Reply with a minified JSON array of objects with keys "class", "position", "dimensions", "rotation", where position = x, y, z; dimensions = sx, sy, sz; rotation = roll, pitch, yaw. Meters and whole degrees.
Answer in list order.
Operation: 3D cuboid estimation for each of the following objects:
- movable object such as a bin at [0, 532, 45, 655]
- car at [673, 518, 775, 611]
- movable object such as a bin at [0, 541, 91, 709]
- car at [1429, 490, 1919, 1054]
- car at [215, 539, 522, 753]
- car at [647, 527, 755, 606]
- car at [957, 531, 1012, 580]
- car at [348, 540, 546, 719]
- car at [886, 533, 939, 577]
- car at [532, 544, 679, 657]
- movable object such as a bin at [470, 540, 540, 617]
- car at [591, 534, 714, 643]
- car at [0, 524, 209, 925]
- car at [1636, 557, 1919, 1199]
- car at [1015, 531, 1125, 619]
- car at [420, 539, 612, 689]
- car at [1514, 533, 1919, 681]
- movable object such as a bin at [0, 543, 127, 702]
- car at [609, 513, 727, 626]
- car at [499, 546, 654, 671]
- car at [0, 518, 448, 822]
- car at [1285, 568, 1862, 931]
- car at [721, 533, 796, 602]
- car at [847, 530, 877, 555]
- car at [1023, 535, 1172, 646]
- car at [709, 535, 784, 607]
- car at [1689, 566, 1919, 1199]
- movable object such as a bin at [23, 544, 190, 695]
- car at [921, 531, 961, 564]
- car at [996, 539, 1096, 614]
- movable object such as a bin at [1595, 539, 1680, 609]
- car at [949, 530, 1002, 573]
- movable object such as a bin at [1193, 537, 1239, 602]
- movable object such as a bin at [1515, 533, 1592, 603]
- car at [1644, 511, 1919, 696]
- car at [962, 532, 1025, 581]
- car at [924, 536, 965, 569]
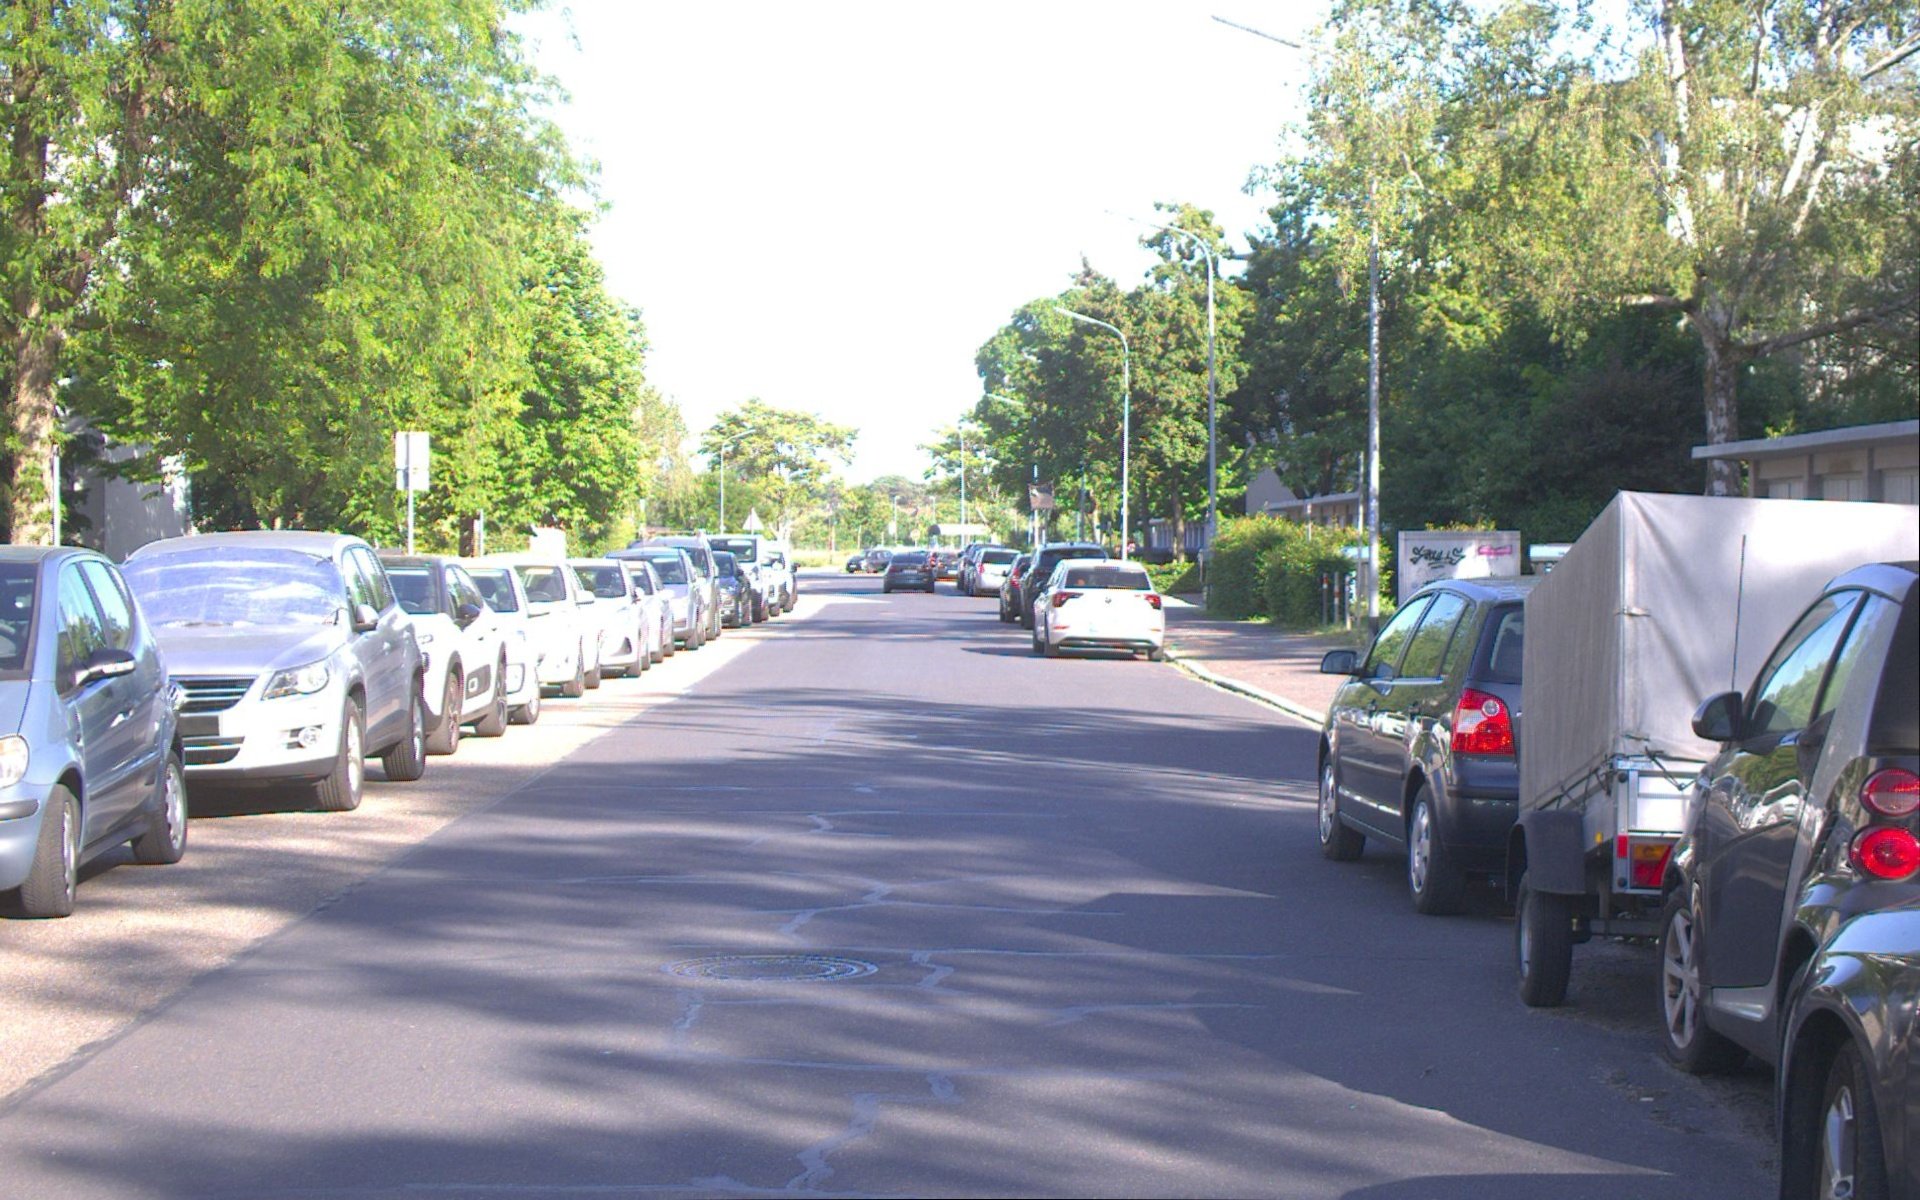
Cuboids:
[{"class":"movable object such as a bin","position":[-11.701,-0.105,41.018],"dimensions":[1.134,1.416,1.361],"rotation":[3,1,1]},{"class":"car","position":[-5.180,-0.808,75.931],"dimensions":[1.915,1.956,5.088],"rotation":[-1,1,-1]},{"class":"movable object such as a bin","position":[-8.280,0.192,29.648],"dimensions":[1.136,1.378,1.442],"rotation":[3,1,1]},{"class":"car","position":[2.596,0.515,11.899],"dimensions":[1.488,1.712,2.583],"rotation":[2,1,-1]},{"class":"car","position":[-4.485,0.296,26.598],"dimensions":[1.662,1.508,3.946],"rotation":[-1,1,0]},{"class":"car","position":[-5.210,-0.695,69.569],"dimensions":[1.746,1.528,4.139],"rotation":[-1,1,1]},{"class":"car","position":[0.910,-1.662,128.722],"dimensions":[1.795,1.780,3.952],"rotation":[1,1,-3]},{"class":"car","position":[-4.627,0.225,31.316],"dimensions":[1.662,1.508,3.539],"rotation":[-1,1,-7]},{"class":"car","position":[-1.710,-1.641,123.600],"dimensions":[1.679,1.508,4.105],"rotation":[2,1,-3]},{"class":"car","position":[-5.022,-0.030,49.164],"dimensions":[1.686,1.460,4.526],"rotation":[-2,1,-1]},{"class":"movable object such as a bin","position":[-8.721,-0.417,65.925],"dimensions":[1.101,1.416,1.361],"rotation":[3,1,0]},{"class":"car","position":[-4.832,-0.213,54.420],"dimensions":[1.709,1.595,3.986],"rotation":[-2,1,-2]},{"class":"car","position":[-4.551,0.481,15.500],"dimensions":[1.635,1.600,3.535],"rotation":[-1,1,-2]},{"class":"car","position":[2.753,0.664,9.305],"dimensions":[1.415,1.518,2.557],"rotation":[2,1,3]},{"class":"car","position":[2.099,-0.509,66.755],"dimensions":[1.908,1.634,4.629],"rotation":[1,1,-1]},{"class":"car","position":[-4.837,0.113,37.868],"dimensions":[1.686,1.529,3.891],"rotation":[-1,1,-2]},{"class":"car","position":[8.422,0.058,37.603],"dimensions":[4.415,1.508,1.829],"rotation":[-1,1,0]},{"class":"movable object such as a bin","position":[-8.268,0.191,31.033],"dimensions":[1.136,1.353,1.243],"rotation":[3,1,1]},{"class":"car","position":[-5.093,-0.553,60.404],"dimensions":[1.854,1.886,4.419],"rotation":[-1,1,-3]},{"class":"car","position":[-4.823,0.073,43.616],"dimensions":[1.686,1.500,3.818],"rotation":[-1,1,-3]},{"class":"car","position":[-4.392,0.346,21.049],"dimensions":[1.903,1.634,4.349],"rotation":[-1,1,-1]},{"class":"car","position":[2.679,0.592,15.905],"dimensions":[1.731,1.399,3.896],"rotation":[1,1,-3]},{"class":"car","position":[-5.240,-0.856,89.580],"dimensions":[1.746,1.726,4.006],"rotation":[-1,1,-1]},{"class":"car","position":[-6.272,-3.671,219.790],"dimensions":[1.795,1.556,3.952],"rotation":[1,1,-3]},{"class":"car","position":[1.980,-0.169,50.483],"dimensions":[1.753,1.508,4.105],"rotation":[2,1,-3]},{"class":"car","position":[-5.221,-0.729,84.042],"dimensions":[1.746,1.664,4.379],"rotation":[-1,1,-4]},{"class":"car","position":[2.530,0.745,4.942],"dimensions":[1.731,1.485,4.502],"rotation":[2,1,-3]},{"class":"movable object such as a bin","position":[-8.011,0.171,32.334],"dimensions":[1.177,1.335,1.343],"rotation":[3,1,1]},{"class":"car","position":[-0.968,-2.692,175.506],"dimensions":[1.795,1.638,3.952],"rotation":[1,1,-3]},{"class":"car","position":[1.786,-0.519,72.603],"dimensions":[1.908,1.525,4.328],"rotation":[1,1,-1]},{"class":"movable object such as a bin","position":[13.320,-0.526,67.635],"dimensions":[1.254,1.348,1.279],"rotation":[0,1,-9]},{"class":"car","position":[0.597,-1.891,133.502],"dimensions":[1.795,1.638,3.952],"rotation":[1,1,-3]},{"class":"movable object such as a bin","position":[5.783,-0.698,77.713],"dimensions":[0.917,1.449,1.233],"rotation":[0,1,-1]},{"class":"movable object such as a bin","position":[11.621,-0.632,67.337],"dimensions":[1.254,1.348,1.279],"rotation":[1,1,-1]},{"class":"car","position":[8.293,-0.007,29.392],"dimensions":[4.513,1.508,1.829],"rotation":[-1,1,1]},{"class":"car","position":[1.070,-1.435,112.721],"dimensions":[1.795,1.556,3.952],"rotation":[1,1,-3]},{"class":"car","position":[-0.763,-2.323,168.106],"dimensions":[1.795,1.543,3.952],"rotation":[1,1,-3]}]
